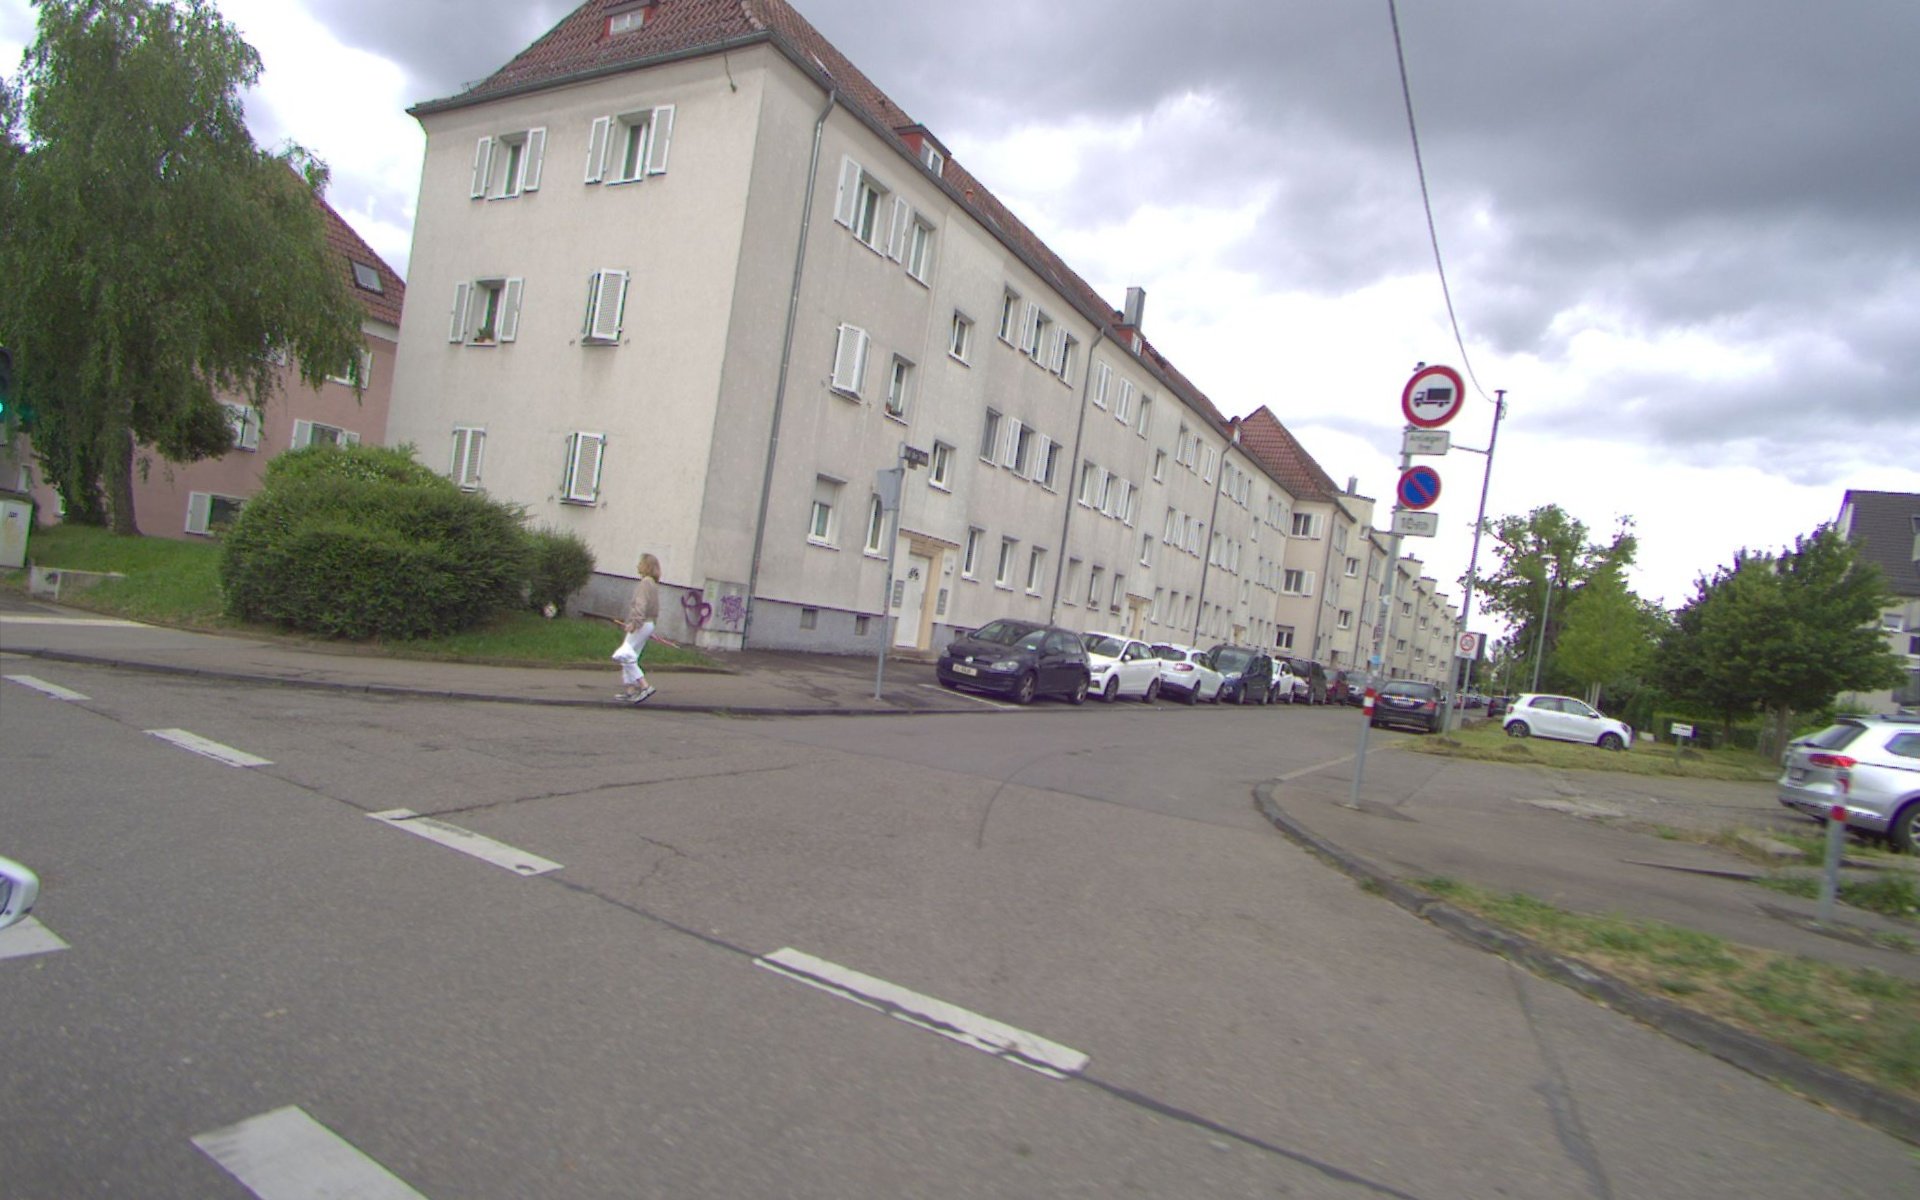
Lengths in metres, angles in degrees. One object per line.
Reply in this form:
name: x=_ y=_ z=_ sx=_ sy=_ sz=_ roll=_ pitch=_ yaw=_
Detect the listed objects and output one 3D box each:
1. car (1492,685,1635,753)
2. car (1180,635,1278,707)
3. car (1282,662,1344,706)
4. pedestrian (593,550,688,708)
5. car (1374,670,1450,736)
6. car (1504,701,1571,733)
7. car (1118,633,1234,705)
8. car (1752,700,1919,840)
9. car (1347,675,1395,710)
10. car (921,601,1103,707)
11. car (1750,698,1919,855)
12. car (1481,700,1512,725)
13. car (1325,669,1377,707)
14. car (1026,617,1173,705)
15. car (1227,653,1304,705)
car: x=18.850 y=3.697 z=31.486 sx=3.627 sy=1.551 sz=1.581 roll=6 pitch=-2 yaw=33
car: x=8.710 y=2.323 z=32.358 sx=1.714 sy=1.806 sz=3.995 roll=9 pitch=-1 yaw=33
car: x=15.432 y=3.688 z=43.872 sx=1.712 sy=1.477 sz=3.997 roll=9 pitch=-1 yaw=30
pedestrian: x=-3.668 y=0.330 z=11.555 sx=0.565 sy=1.707 sz=0.657 roll=9 pitch=2 yaw=31
car: x=12.903 y=2.930 z=28.593 sx=1.611 sy=1.550 sz=3.685 roll=6 pitch=-3 yaw=28
car: x=37.832 y=7.637 z=65.938 sx=3.627 sy=1.551 sz=1.581 roll=6 pitch=-2 yaw=33
car: x=5.968 y=1.939 z=27.517 sx=1.713 sy=1.477 sz=3.996 roll=9 pitch=-1 yaw=31
car: x=13.245 y=2.381 z=12.832 sx=4.533 sy=1.551 sz=1.999 roll=6 pitch=-2 yaw=29
car: x=22.552 y=5.094 z=55.126 sx=1.712 sy=1.477 sz=3.997 roll=9 pitch=-1 yaw=30
car: x=1.107 y=1.101 z=19.237 sx=1.695 sy=1.471 sz=3.882 roll=12 pitch=0 yaw=30
car: x=11.518 y=2.112 z=10.665 sx=4.533 sy=1.480 sz=1.999 roll=6 pitch=-2 yaw=29
car: x=39.995 y=8.398 z=74.966 sx=1.712 sy=1.477 sz=3.997 roll=9 pitch=-1 yaw=30
car: x=19.561 y=4.408 z=50.241 sx=1.712 sy=1.477 sz=3.997 roll=9 pitch=-1 yaw=30
car: x=3.360 y=1.478 z=23.544 sx=1.714 sy=1.538 sz=3.995 roll=9 pitch=-1 yaw=33
car: x=11.407 y=2.969 z=37.406 sx=1.712 sy=1.477 sz=3.997 roll=9 pitch=-1 yaw=30
